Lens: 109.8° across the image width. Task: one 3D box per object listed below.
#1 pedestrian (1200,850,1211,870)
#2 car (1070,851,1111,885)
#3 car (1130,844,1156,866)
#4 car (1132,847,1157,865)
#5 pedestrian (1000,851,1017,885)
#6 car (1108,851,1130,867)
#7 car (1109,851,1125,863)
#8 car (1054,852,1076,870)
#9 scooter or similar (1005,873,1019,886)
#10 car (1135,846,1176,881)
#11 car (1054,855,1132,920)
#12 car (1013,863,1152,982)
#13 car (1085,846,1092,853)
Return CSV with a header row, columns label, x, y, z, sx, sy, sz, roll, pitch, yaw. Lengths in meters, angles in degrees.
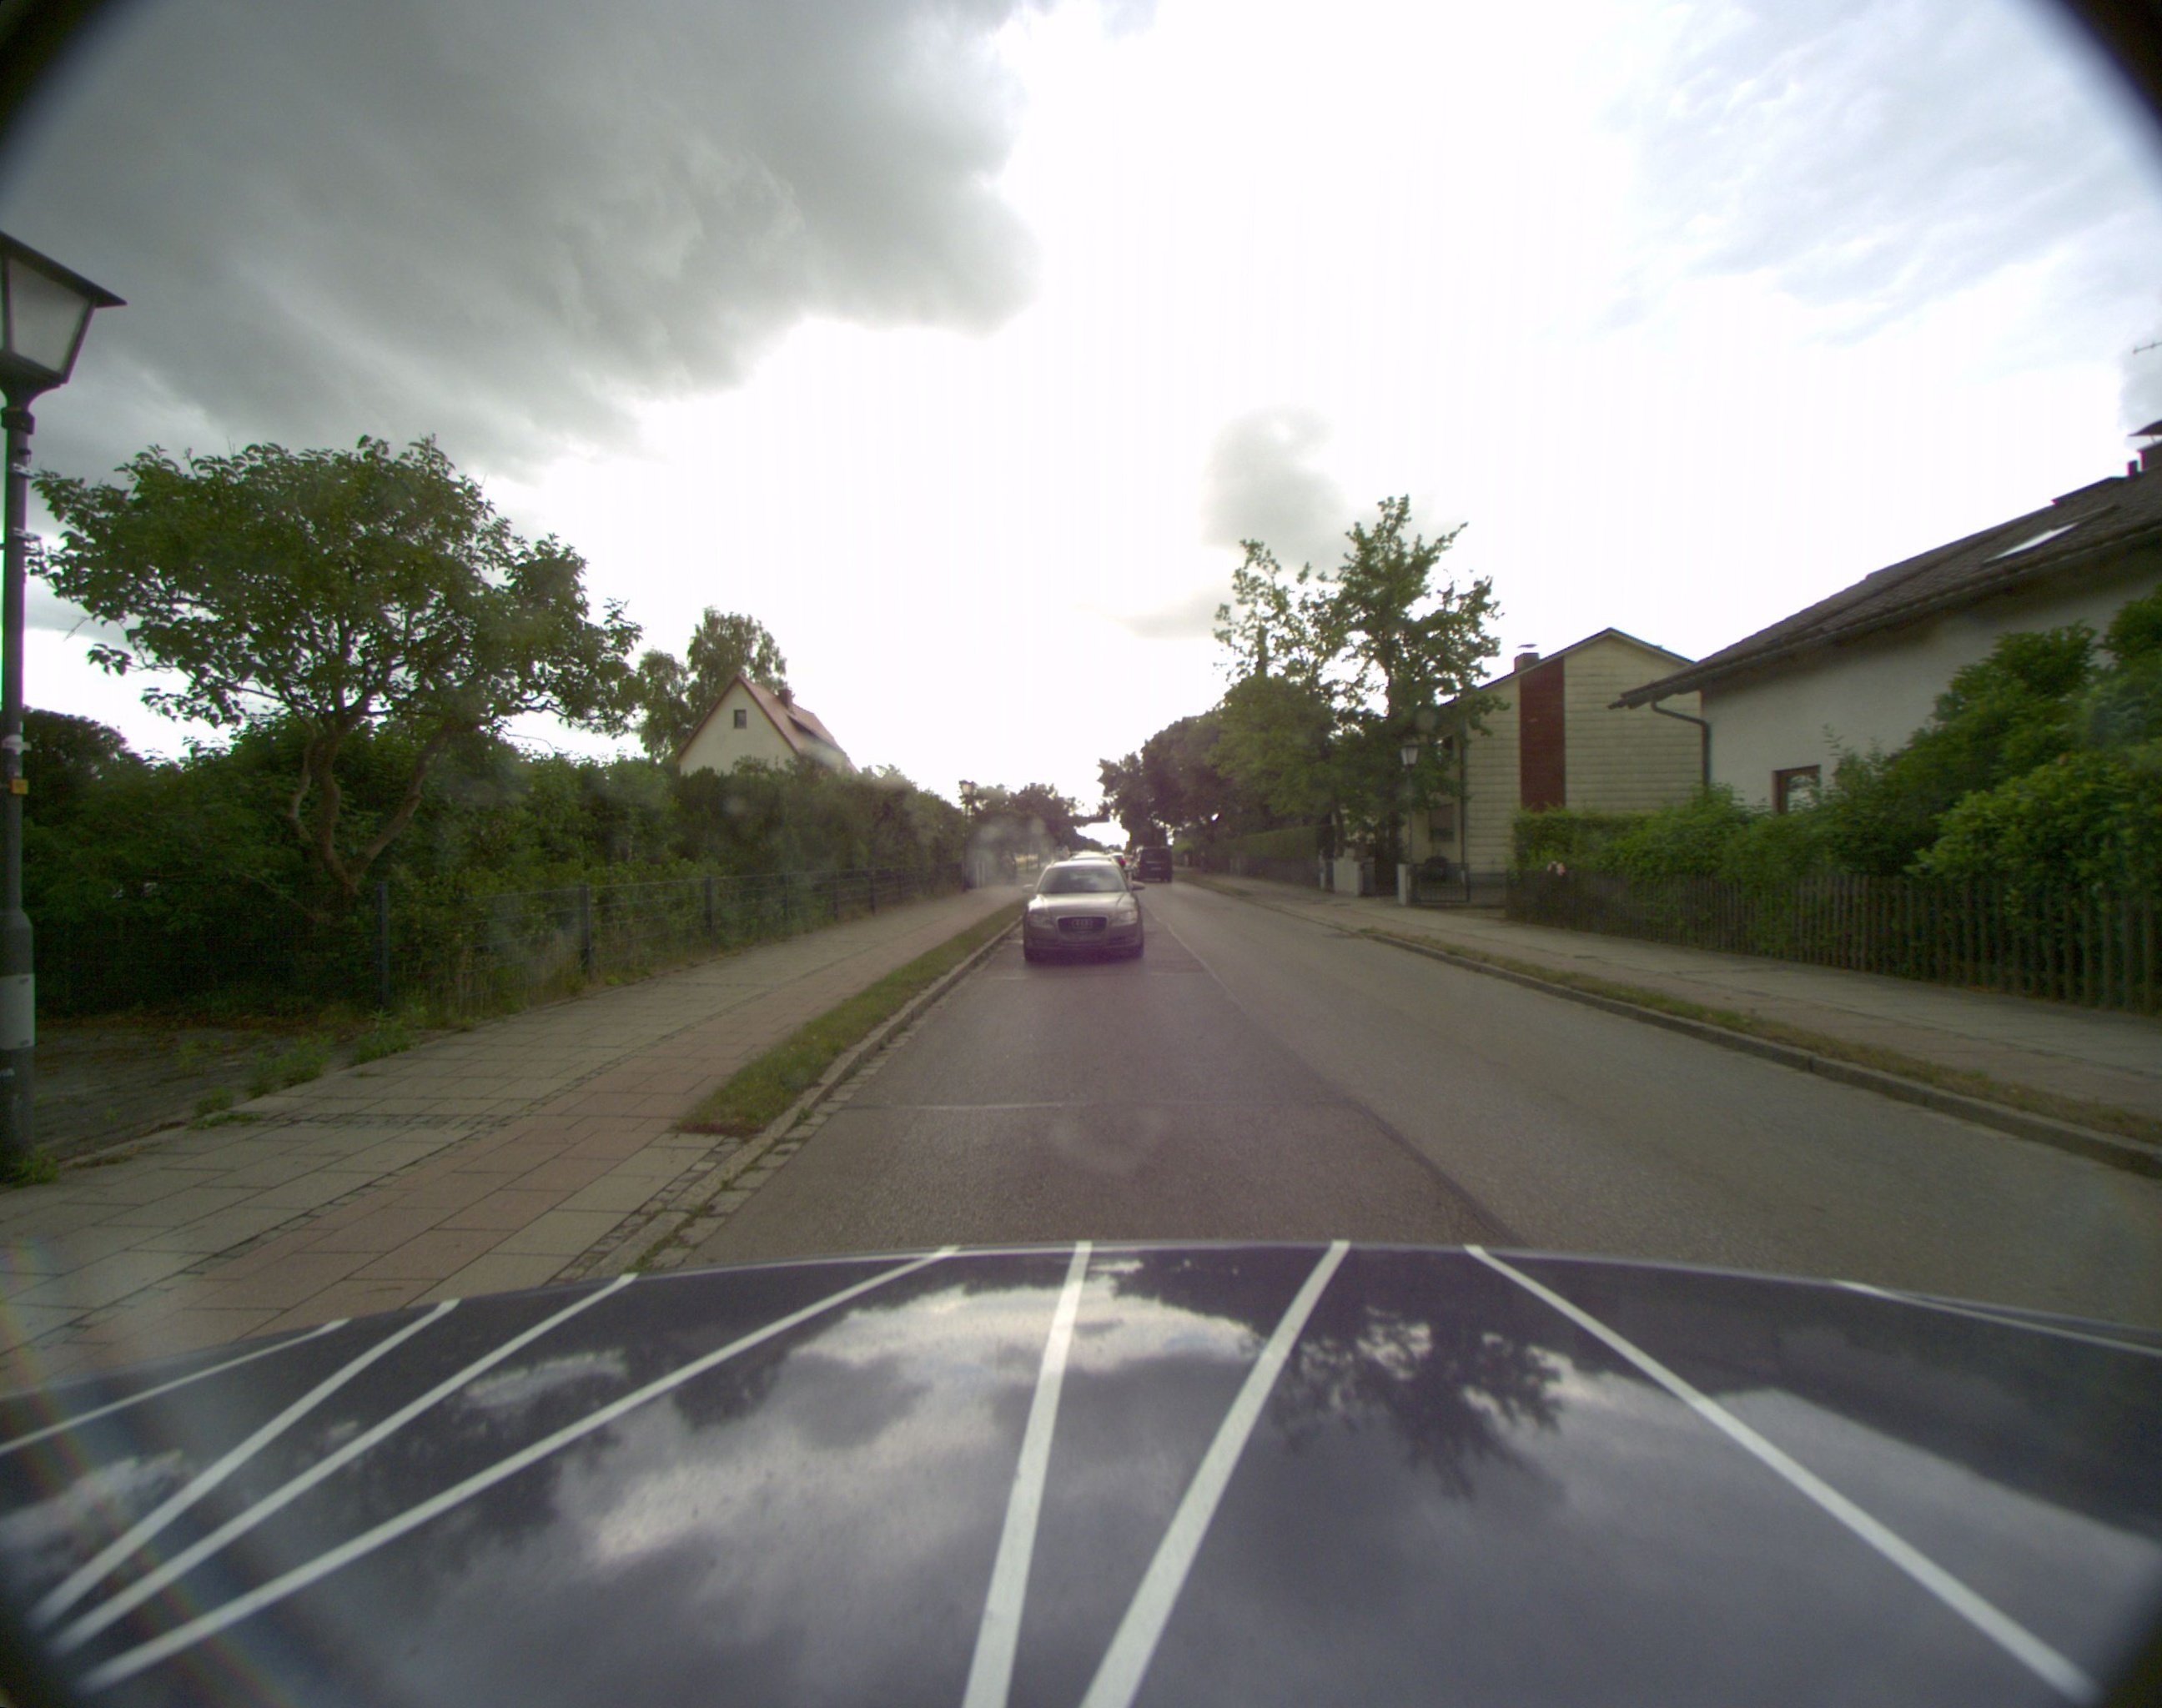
label,x,y,z,sx,sy,sz,roll,pitch,yaw
pedestrian,8.983,0.445,54.798,0.631,1.429,0.563,-1,1,1
car,0.450,0.619,36.638,1.866,1.518,4.122,-1,0,0
car,6.660,0.062,81.837,2.246,2.258,4.469,-1,0,-2
car,6.265,0.198,75.774,1.999,1.739,3.999,-1,0,-2
pedestrian,-3.434,0.639,36.040,0.793,1.592,0.671,0,1,-2
car,3.530,0.464,71.041,1.851,1.445,4.548,-1,0,0
car,4.736,0.348,99.757,1.756,1.475,4.375,-1,0,-1
car,-1.376,0.567,67.095,1.866,1.518,4.122,-1,0,-1
scooter or similar,-3.202,1.185,35.347,0.618,0.553,0.742,-1,0,-1
car,4.096,0.470,42.480,1.969,1.842,4.948,-1,0,2
car,0.311,0.818,21.030,1.866,1.518,4.943,-1,0,1
car,0.040,0.936,12.238,1.809,1.476,4.270,-1,0,0
car,2.341,-1.254,224.373,1.998,2.002,4.000,-1,0,1
